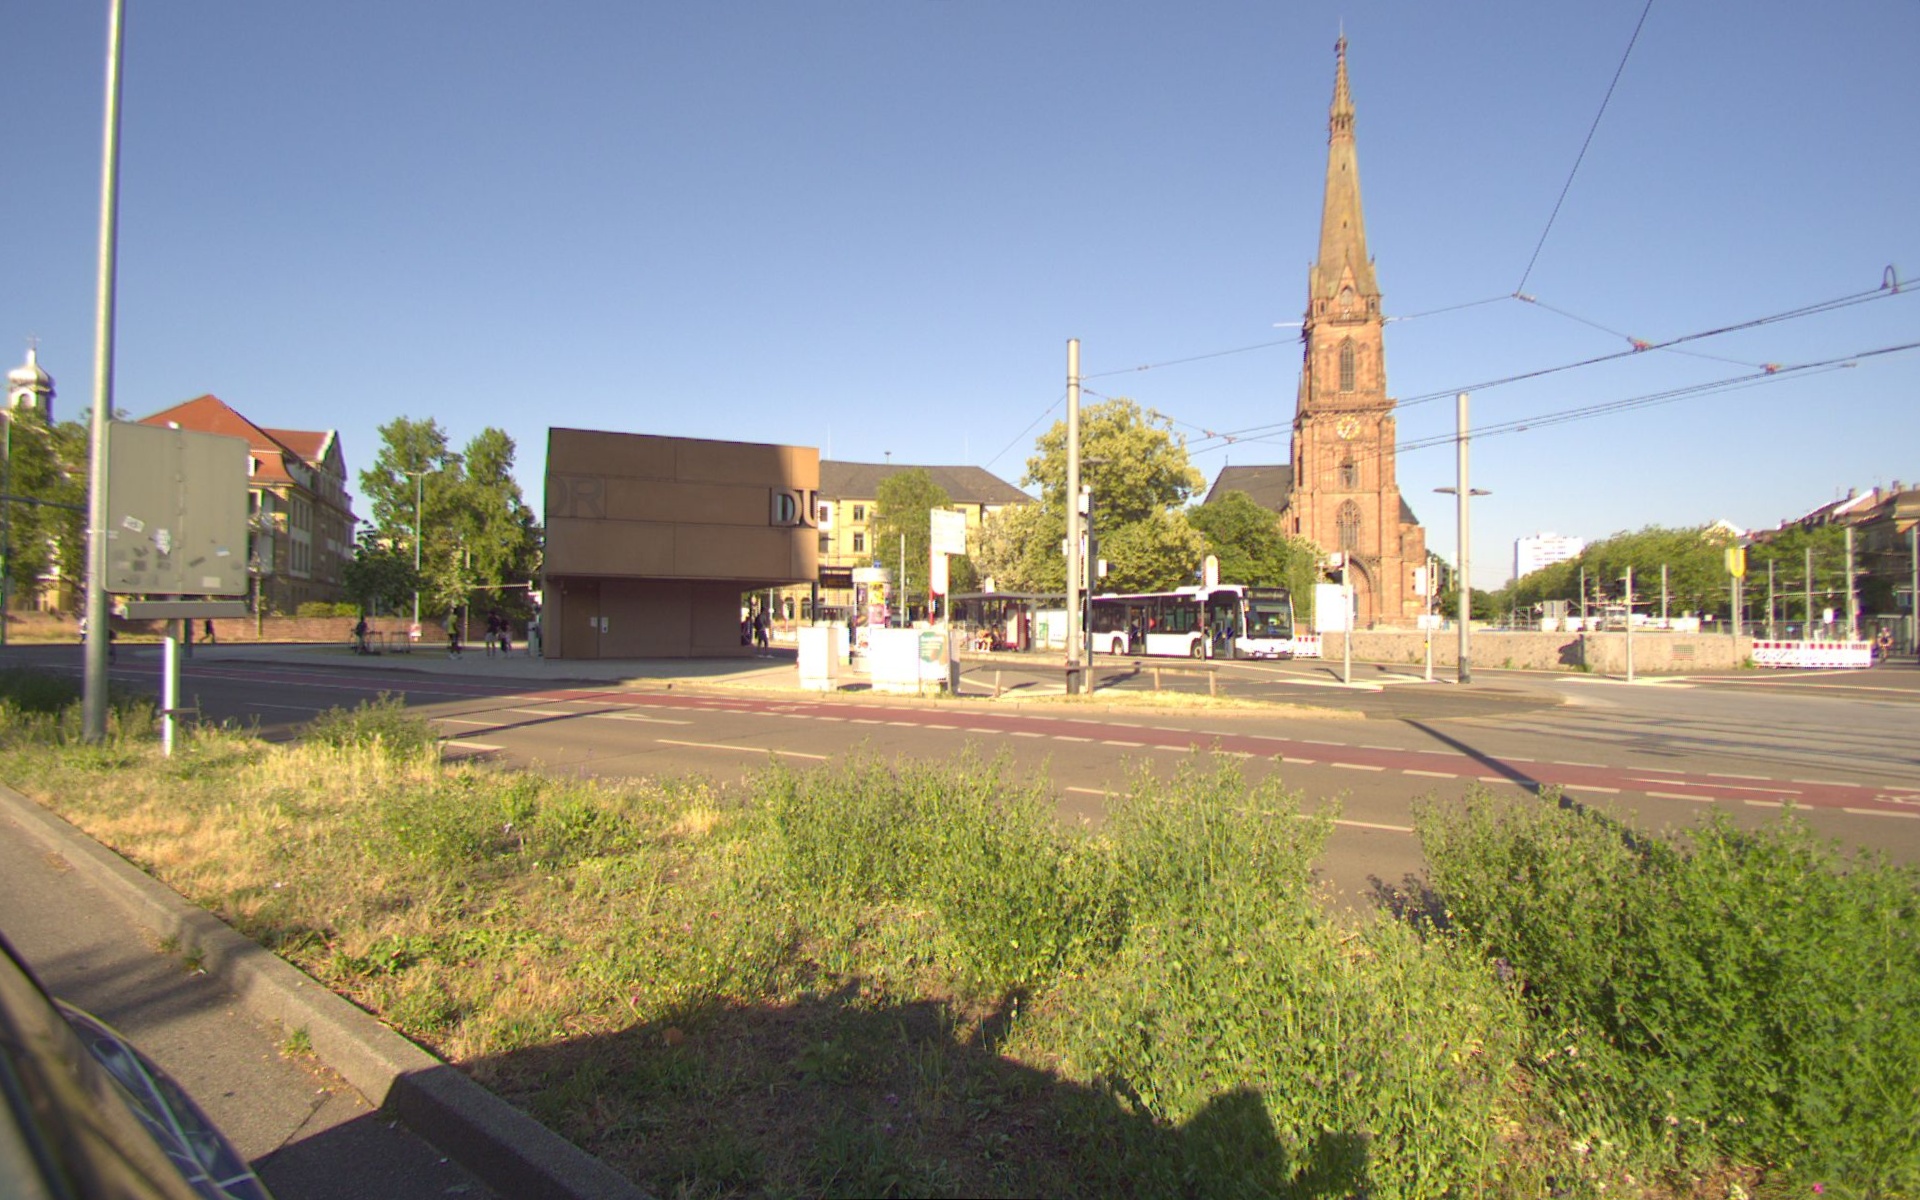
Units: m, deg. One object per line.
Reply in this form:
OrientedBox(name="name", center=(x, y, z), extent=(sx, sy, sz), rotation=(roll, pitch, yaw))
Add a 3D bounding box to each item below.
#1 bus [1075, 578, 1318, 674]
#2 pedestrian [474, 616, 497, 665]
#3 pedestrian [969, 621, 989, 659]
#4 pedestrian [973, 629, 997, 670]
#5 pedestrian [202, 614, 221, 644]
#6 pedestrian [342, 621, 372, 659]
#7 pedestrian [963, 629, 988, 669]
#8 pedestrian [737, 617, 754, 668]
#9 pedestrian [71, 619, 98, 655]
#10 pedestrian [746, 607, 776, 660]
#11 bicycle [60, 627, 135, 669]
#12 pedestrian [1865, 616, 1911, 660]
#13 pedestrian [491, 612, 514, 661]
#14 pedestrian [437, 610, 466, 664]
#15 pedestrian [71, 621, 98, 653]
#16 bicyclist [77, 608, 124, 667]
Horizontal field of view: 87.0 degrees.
OrientedBox(name="bus", center=(9.349, 0.899, 42.616), extent=(3.194, 3.342, 12.229), rotation=(4, -1, -23))
OrientedBox(name="pedestrian", center=(-16.703, 1.421, 35.642), extent=(0.629, 1.702, 0.551), rotation=(0, -3, -36))
OrientedBox(name="pedestrian", center=(0.996, 2.103, 53.721), extent=(0.802, 1.997, 0.757), rotation=(1, -3, -21))
OrientedBox(name="pedestrian", center=(1.218, 2.414, 49.228), extent=(0.964, 1.997, 0.721), rotation=(1, -3, -21))
OrientedBox(name="pedestrian", center=(-43.232, 1.666, 58.473), extent=(0.780, 1.665, 0.715), rotation=(3, 0, -33))
OrientedBox(name="pedestrian", center=(-27.447, 1.831, 46.076), extent=(0.745, 1.697, 0.890), rotation=(-1, -2, 30))
OrientedBox(name="pedestrian", center=(0.779, 2.487, 50.944), extent=(0.979, 1.997, 0.831), rotation=(1, -3, -21))
OrientedBox(name="pedestrian", center=(-8.728, 1.732, 41.160), extent=(0.604, 2.029, 0.809), rotation=(-1, -2, -13))
OrientedBox(name="pedestrian", center=(-48.557, 2.056, 56.139), extent=(0.710, 1.908, 0.864), rotation=(3, 0, 28))
OrientedBox(name="pedestrian", center=(-7.655, 1.296, 38.960), extent=(0.964, 1.997, 0.721), rotation=(1, -3, -23))
OrientedBox(name="bicycle", center=(-27.429, 1.502, 32.176), extent=(2.539, 1.265, 0.736), rotation=(0, -1, 23))
OrientedBox(name="pedestrian", center=(44.287, 1.818, 48.340), extent=(1.373, 2.029, 1.499), rotation=(-3, -3, 37))
OrientedBox(name="pedestrian", center=(-16.693, 1.341, 36.951), extent=(0.723, 1.744, 0.667), rotation=(-1, -2, -24))
OrientedBox(name="pedestrian", center=(-17.791, 1.285, 35.392), extent=(0.639, 1.849, 0.709), rotation=(-4, -3, 41))
OrientedBox(name="pedestrian", center=(-47.998, 2.015, 55.487), extent=(0.710, 1.686, 0.864), rotation=(3, 0, 28))
OrientedBox(name="bicyclist", center=(-27.275, 1.174, 32.117), extent=(1.007, 1.846, 0.737), rotation=(0, -1, 22))
